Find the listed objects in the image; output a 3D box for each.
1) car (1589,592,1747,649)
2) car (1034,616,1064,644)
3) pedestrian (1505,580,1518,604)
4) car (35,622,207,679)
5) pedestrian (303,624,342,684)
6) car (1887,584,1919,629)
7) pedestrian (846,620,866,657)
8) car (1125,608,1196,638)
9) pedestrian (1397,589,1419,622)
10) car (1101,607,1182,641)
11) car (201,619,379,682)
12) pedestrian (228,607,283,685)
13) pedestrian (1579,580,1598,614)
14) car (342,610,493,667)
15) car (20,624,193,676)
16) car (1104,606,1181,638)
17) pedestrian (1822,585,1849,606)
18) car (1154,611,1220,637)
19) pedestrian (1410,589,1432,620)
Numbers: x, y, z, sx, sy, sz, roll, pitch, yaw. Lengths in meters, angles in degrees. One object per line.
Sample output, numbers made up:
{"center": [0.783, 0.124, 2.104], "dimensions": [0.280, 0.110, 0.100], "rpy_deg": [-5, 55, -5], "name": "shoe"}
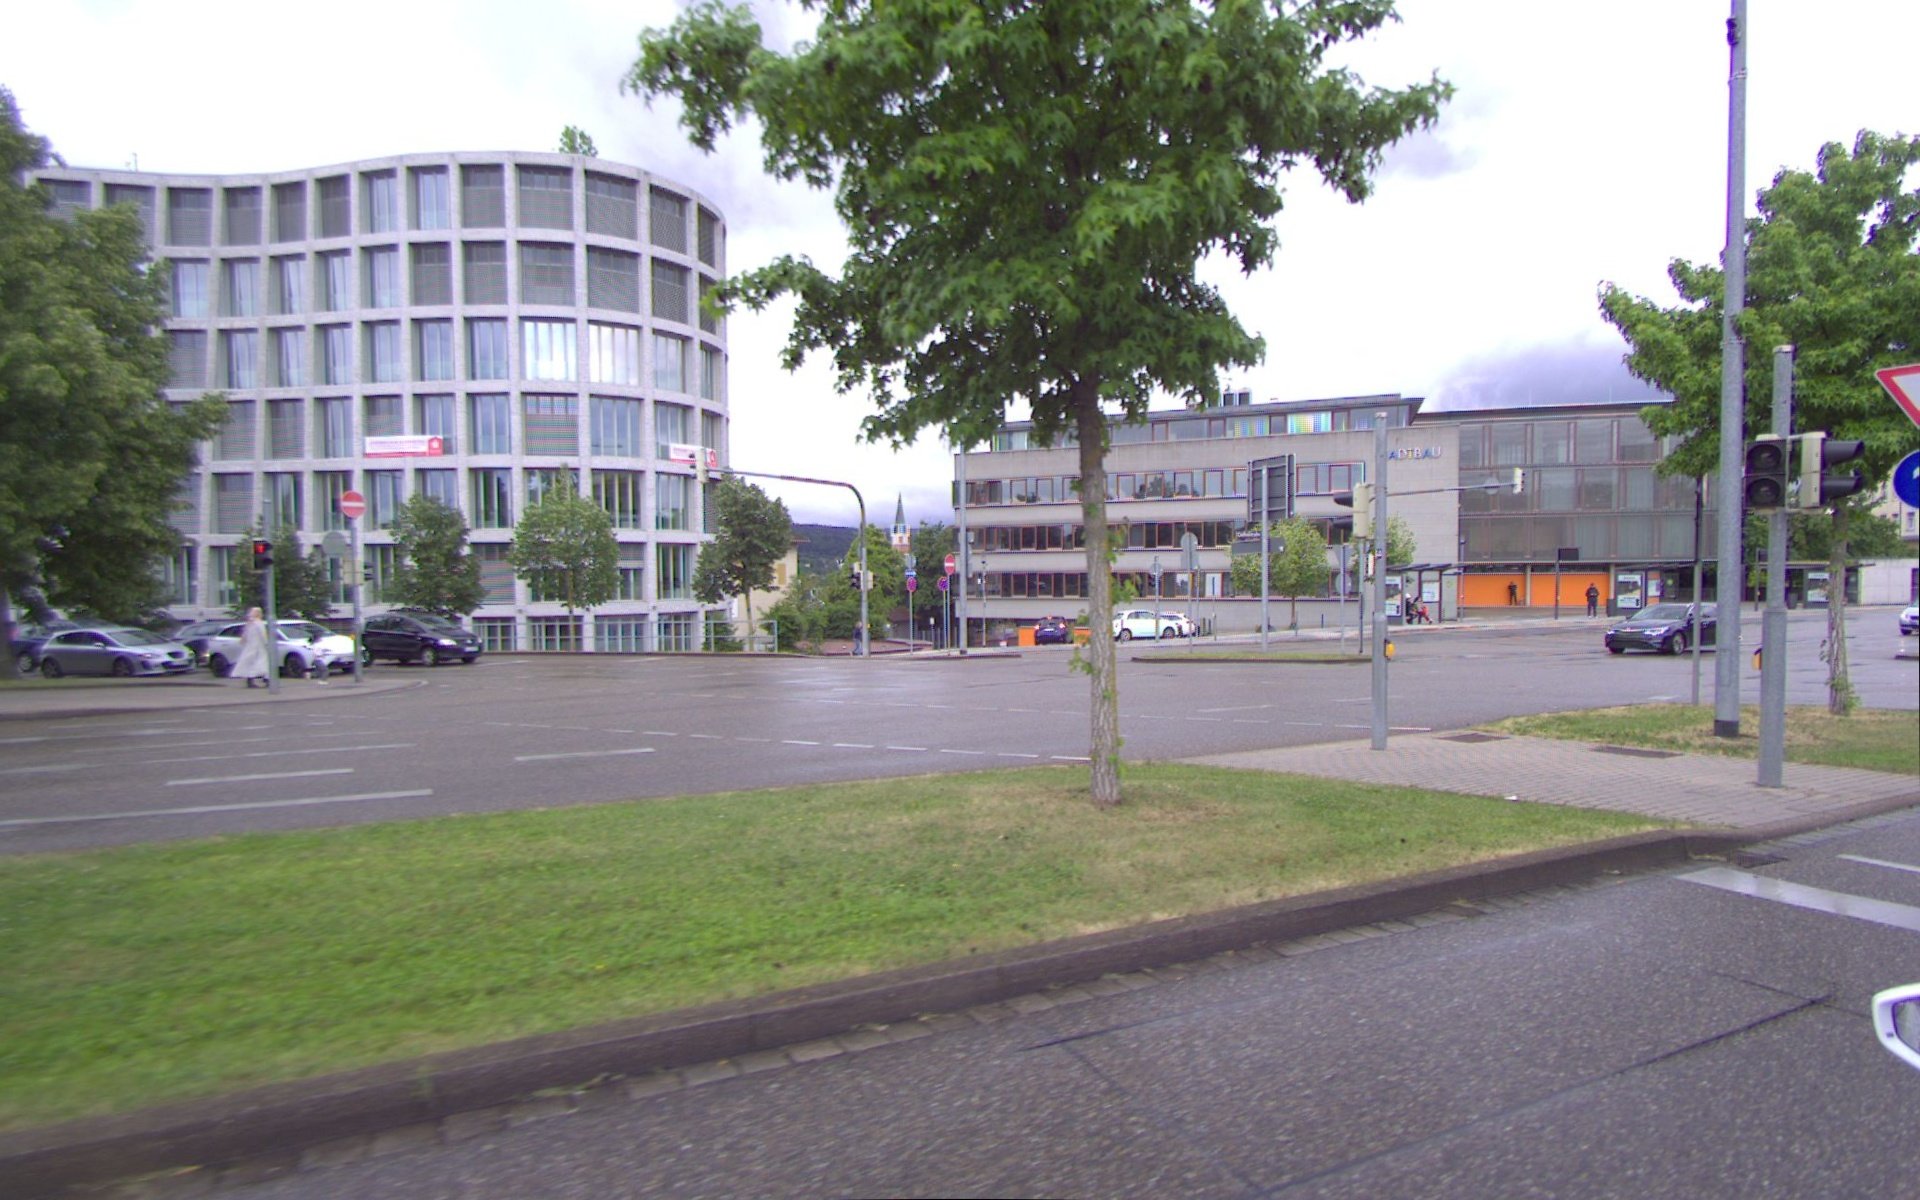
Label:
{"center": [21.174, 0.567, 30.003], "dimensions": [4.856, 1.524, 1.840], "rpy_deg": [-1, 1, -27], "name": "car"}
{"center": [4.688, 1.550, 52.466], "dimensions": [1.453, 1.369, 3.584], "rpy_deg": [0, 0, 7], "name": "car"}
{"center": [39.419, -0.596, 71.755], "dimensions": [0.630, 1.706, 0.475], "rpy_deg": [-1, 0, 3], "name": "pedestrian"}
{"center": [-24.006, 1.425, 28.792], "dimensions": [3.974, 1.528, 1.729], "rpy_deg": [-1, 0, 13], "name": "car"}
{"center": [-14.235, 1.199, 22.425], "dimensions": [0.626, 1.309, 0.646], "rpy_deg": [2, -2, -41], "name": "pedestrian"}
{"center": [37.958, 0.223, 38.839], "dimensions": [4.364, 1.675, 1.839], "rpy_deg": [-1, 1, -28], "name": "car"}
{"center": [-4.628, 1.710, 44.767], "dimensions": [0.697, 1.604, 0.668], "rpy_deg": [0, 1, -30], "name": "pedestrian"}
{"center": [10.836, 1.219, 54.375], "dimensions": [3.711, 1.515, 1.767], "rpy_deg": [-1, 0, 11], "name": "car"}
{"center": [20.713, 0.256, 46.442], "dimensions": [0.618, 1.488, 0.675], "rpy_deg": [-1, 1, -30], "name": "pedestrian"}
{"center": [8.833, 1.144, 48.995], "dimensions": [3.520, 1.515, 1.629], "rpy_deg": [-1, 0, -13], "name": "car"}
{"center": [-18.399, 1.351, 27.626], "dimensions": [4.058, 1.589, 1.888], "rpy_deg": [-1, 0, 17], "name": "car"}
{"center": [-14.530, 0.940, 20.732], "dimensions": [0.618, 1.591, 0.654], "rpy_deg": [0, -2, 14], "name": "pedestrian"}
{"center": [32.777, -0.159, 52.363], "dimensions": [0.752, 1.706, 0.473], "rpy_deg": [-1, 0, -22], "name": "pedestrian"}
{"center": [-16.051, 1.115, 29.782], "dimensions": [3.761, 1.589, 1.729], "rpy_deg": [-1, 0, 15], "name": "car"}
{"center": [-27.963, 1.612, 32.976], "dimensions": [4.487, 1.589, 1.729], "rpy_deg": [-1, 0, 7], "name": "car"}
{"center": [9.302, 1.087, 51.265], "dimensions": [3.520, 1.515, 1.629], "rpy_deg": [-1, 0, -13], "name": "car"}
{"center": [55.987, -0.299, 64.224], "dimensions": [0.834, 1.285, 0.977], "rpy_deg": [-1, 4, -7], "name": "pedestrian"}
{"center": [13.595, 1.407, 60.113], "dimensions": [3.517, 1.515, 1.630], "rpy_deg": [0, 0, -10], "name": "car"}
{"center": [21.513, 0.196, 46.883], "dimensions": [0.712, 1.411, 0.675], "rpy_deg": [-1, 1, -30], "name": "pedestrian"}
